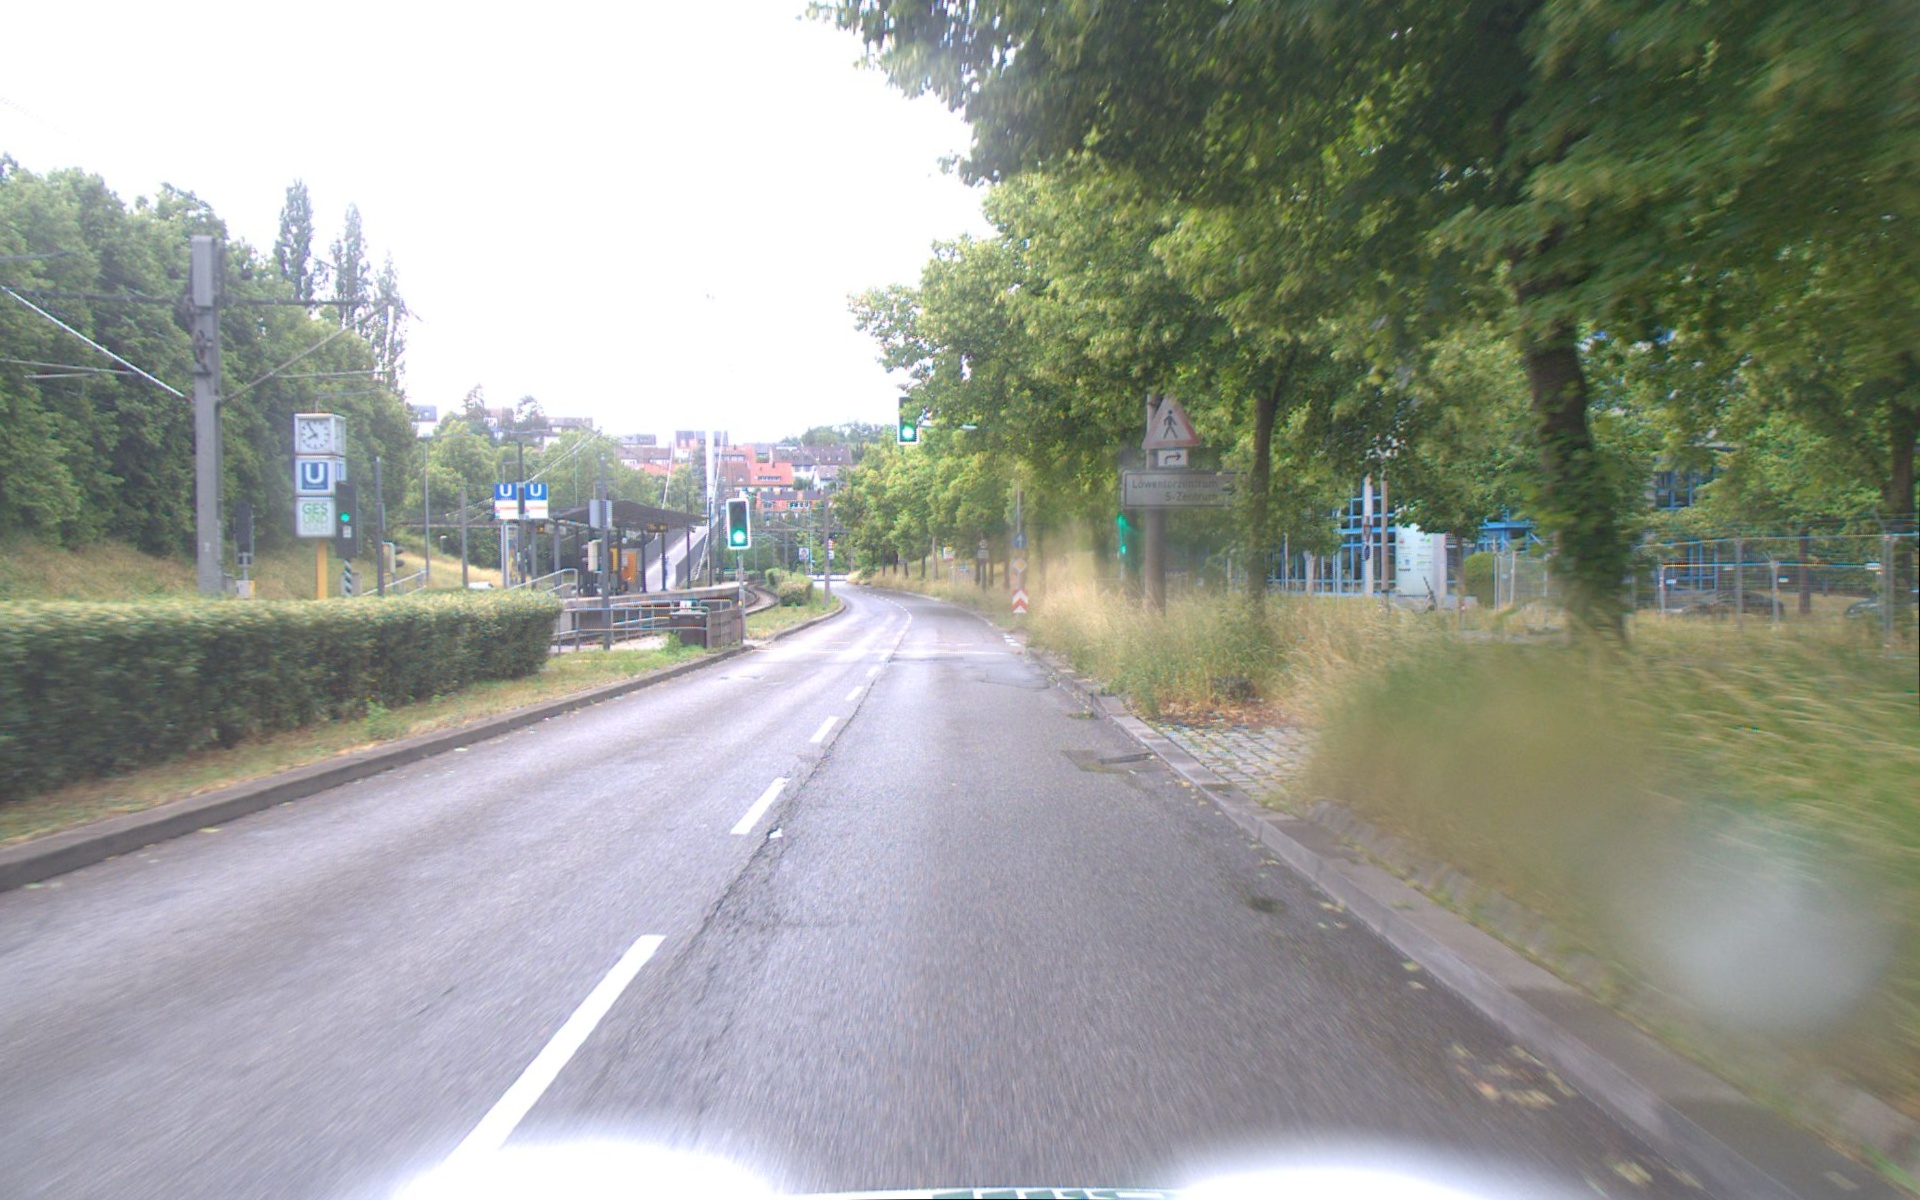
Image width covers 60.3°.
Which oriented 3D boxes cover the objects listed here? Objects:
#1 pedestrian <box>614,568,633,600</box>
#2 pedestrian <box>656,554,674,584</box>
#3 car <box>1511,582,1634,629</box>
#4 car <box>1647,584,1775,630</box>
[{"bbox_3d":[-14.627,-0.709,71.826,0.738,1.379,0.691,0,0,-5],"label":"pedestrian"},{"bbox_3d":[-16.370,-1.705,91.845,0.917,1.639,1.026,0,0,-5],"label":"pedestrian"},{"bbox_3d":[23.070,0.203,62.410,4.010,1.670,1.759,0,2,4],"label":"car"},{"bbox_3d":[28.225,0.257,62.258,4.010,1.606,1.759,0,2,4],"label":"car"}]
